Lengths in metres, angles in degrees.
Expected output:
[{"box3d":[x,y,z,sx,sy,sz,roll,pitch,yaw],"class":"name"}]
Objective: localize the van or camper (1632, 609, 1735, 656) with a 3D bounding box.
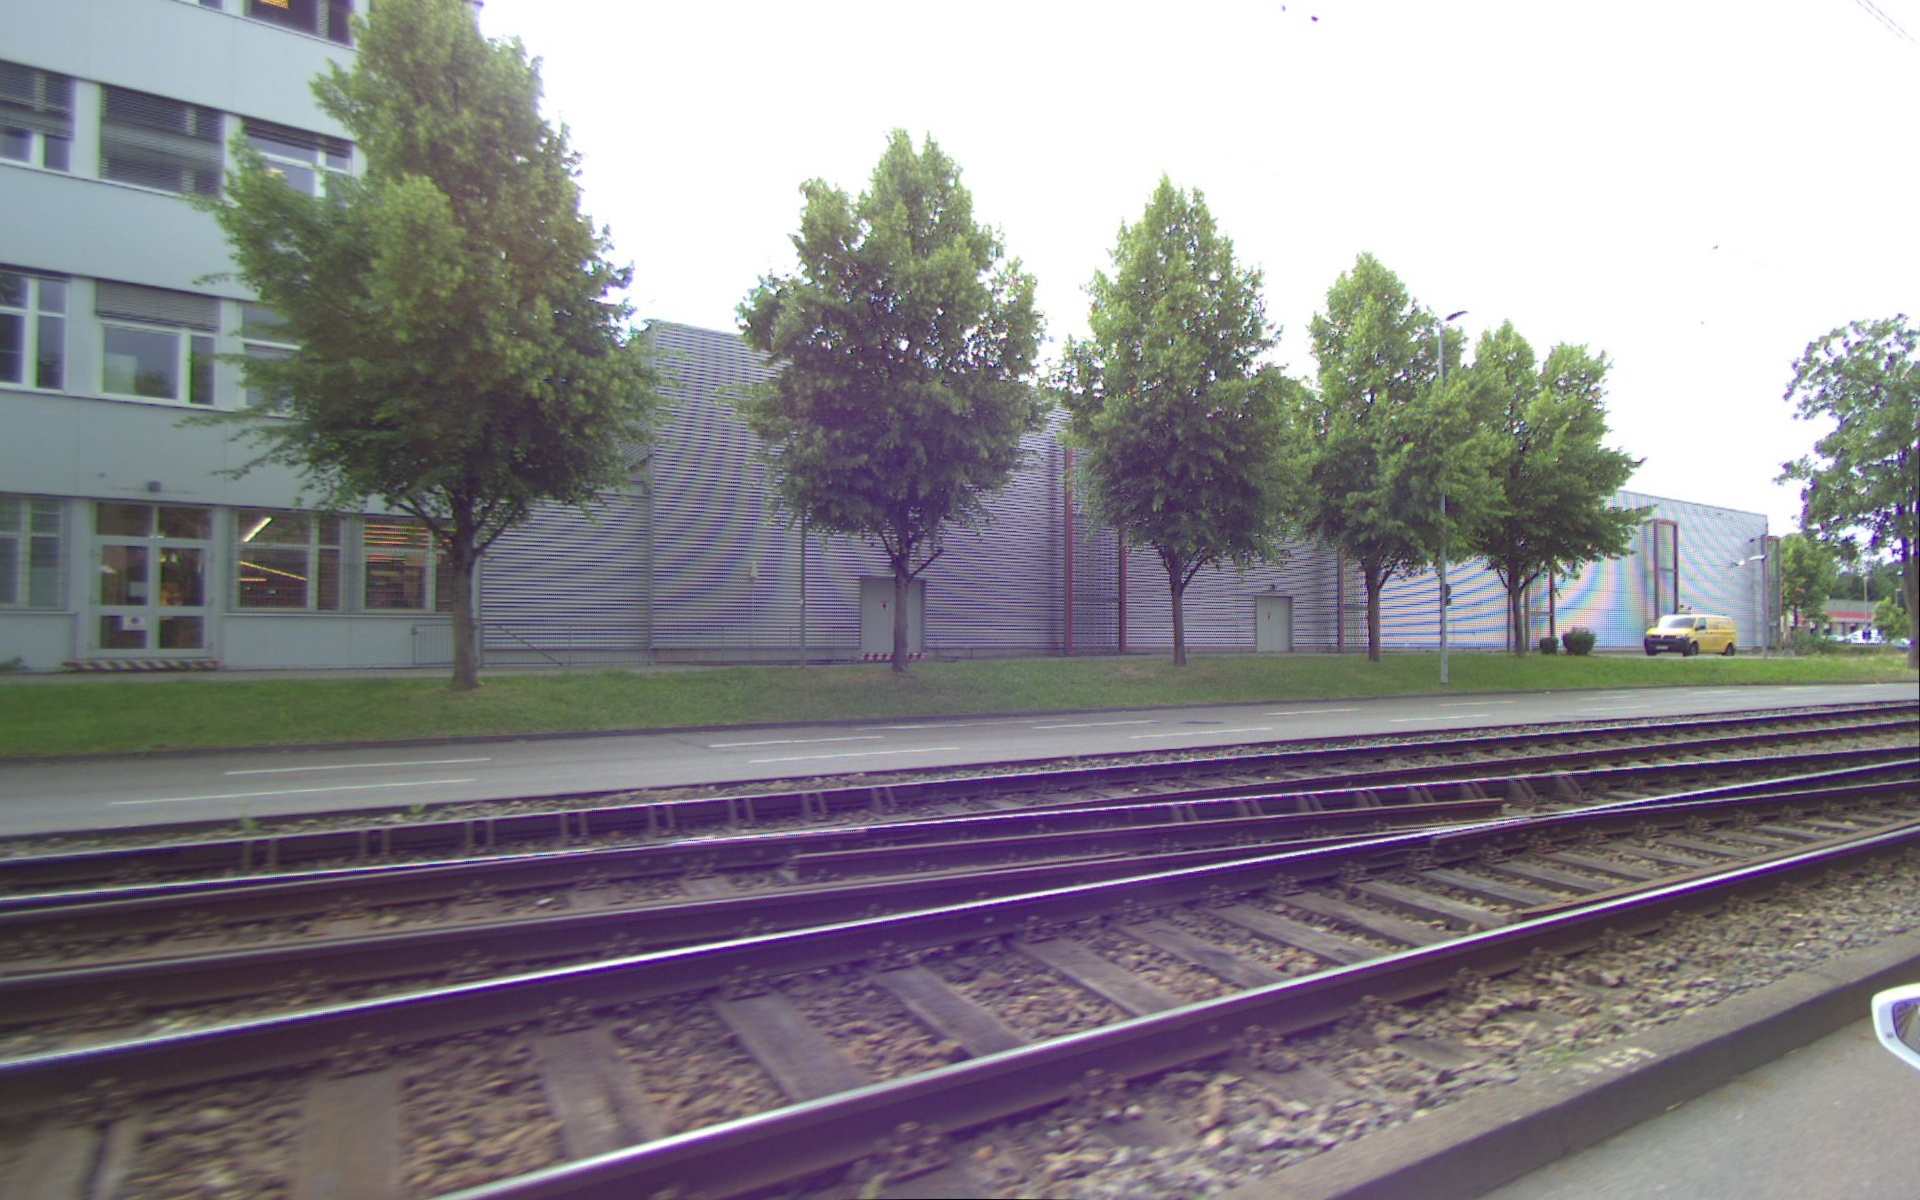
[{"box3d":[33.368,1.496,46.298,5.185,2.040,2.092,1,-2,-33],"class":"van or camper"}]
